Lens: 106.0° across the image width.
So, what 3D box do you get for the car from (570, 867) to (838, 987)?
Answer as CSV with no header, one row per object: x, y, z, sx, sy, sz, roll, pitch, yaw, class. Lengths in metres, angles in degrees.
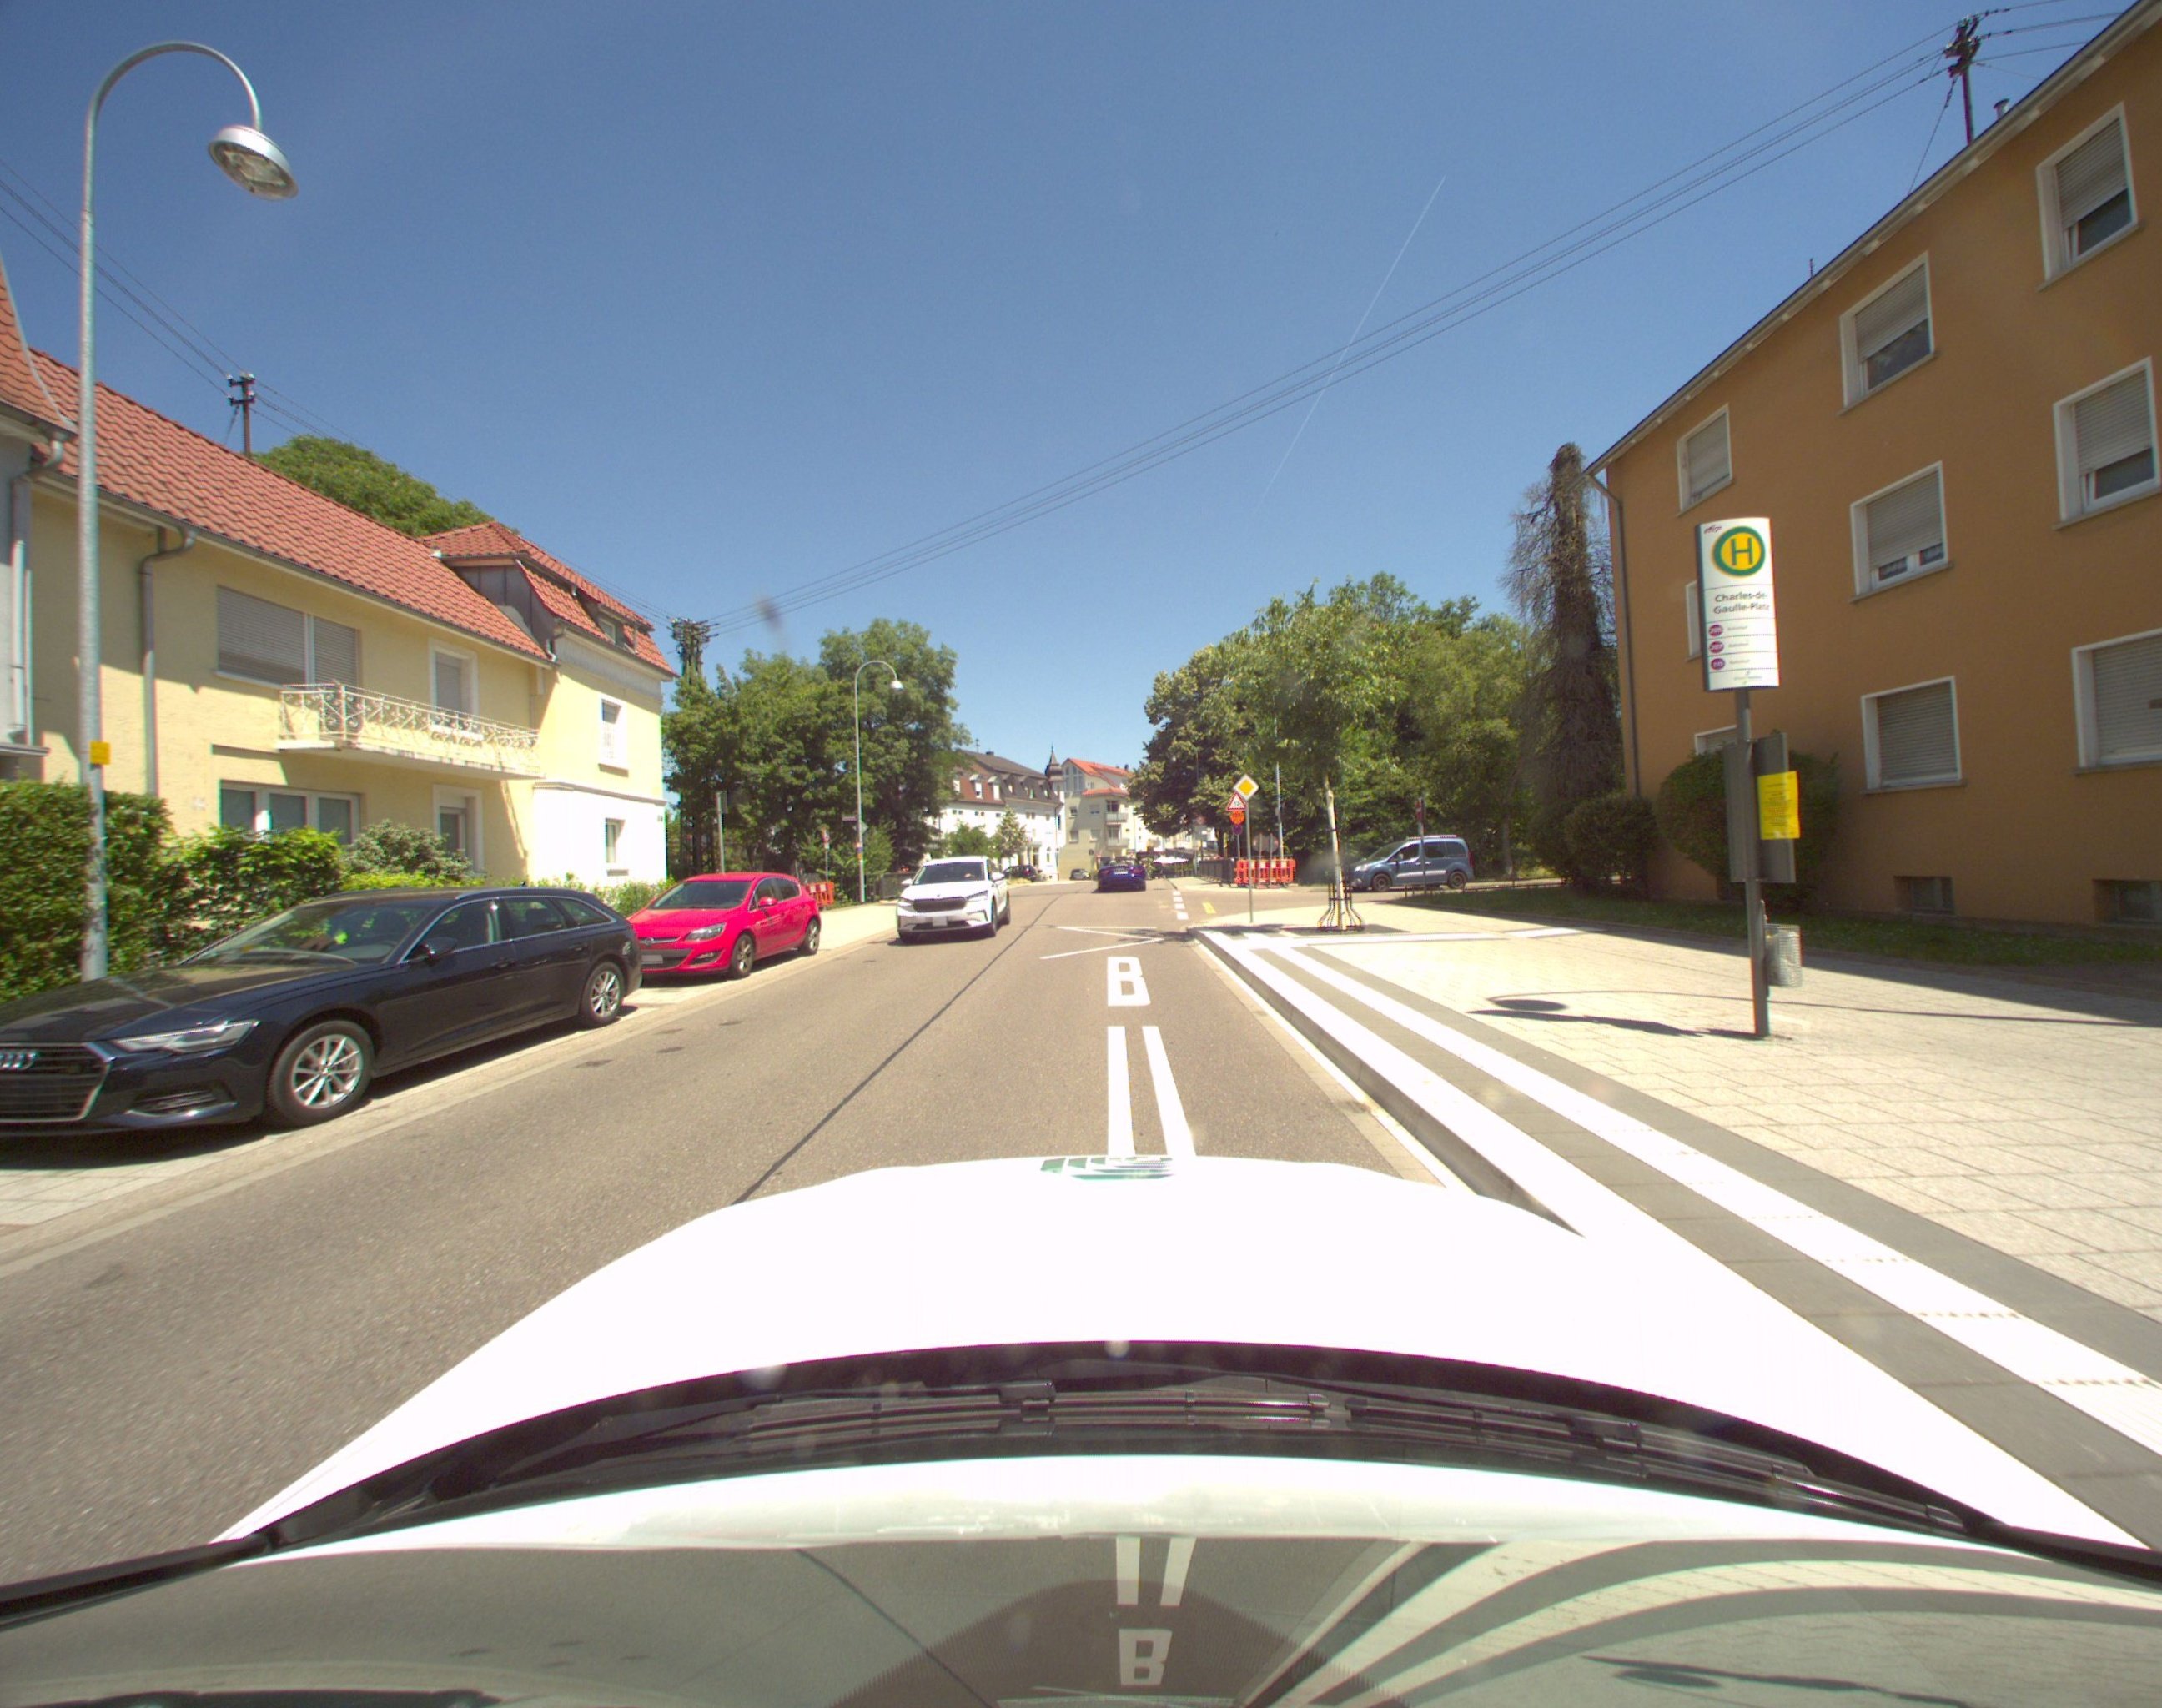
-5.586,0.987,12.900,1.870,1.479,4.740,0,0,2,car

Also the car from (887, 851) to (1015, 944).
-2.586,0.825,17.250,1.871,1.597,4.359,-4,0,0,car

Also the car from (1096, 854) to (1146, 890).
1.613,0.725,33.055,1.863,1.342,4.598,-1,-1,2,car

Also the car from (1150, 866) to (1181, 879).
10.156,2.224,98.180,1.696,1.461,4.155,-1,-1,39,car

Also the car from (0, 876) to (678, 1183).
-5.770,1.006,6.980,1.856,1.461,5.308,-1,0,1,car

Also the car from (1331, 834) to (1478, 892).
10.982,0.300,27.801,4.333,1.839,1.746,-1,-1,-7,car

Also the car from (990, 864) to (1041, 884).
-5.979,1.847,74.310,4.142,1.662,1.982,-3,-2,25,car

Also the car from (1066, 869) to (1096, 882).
0.004,2.628,100.132,3.232,1.458,1.701,-3,-1,25,car
